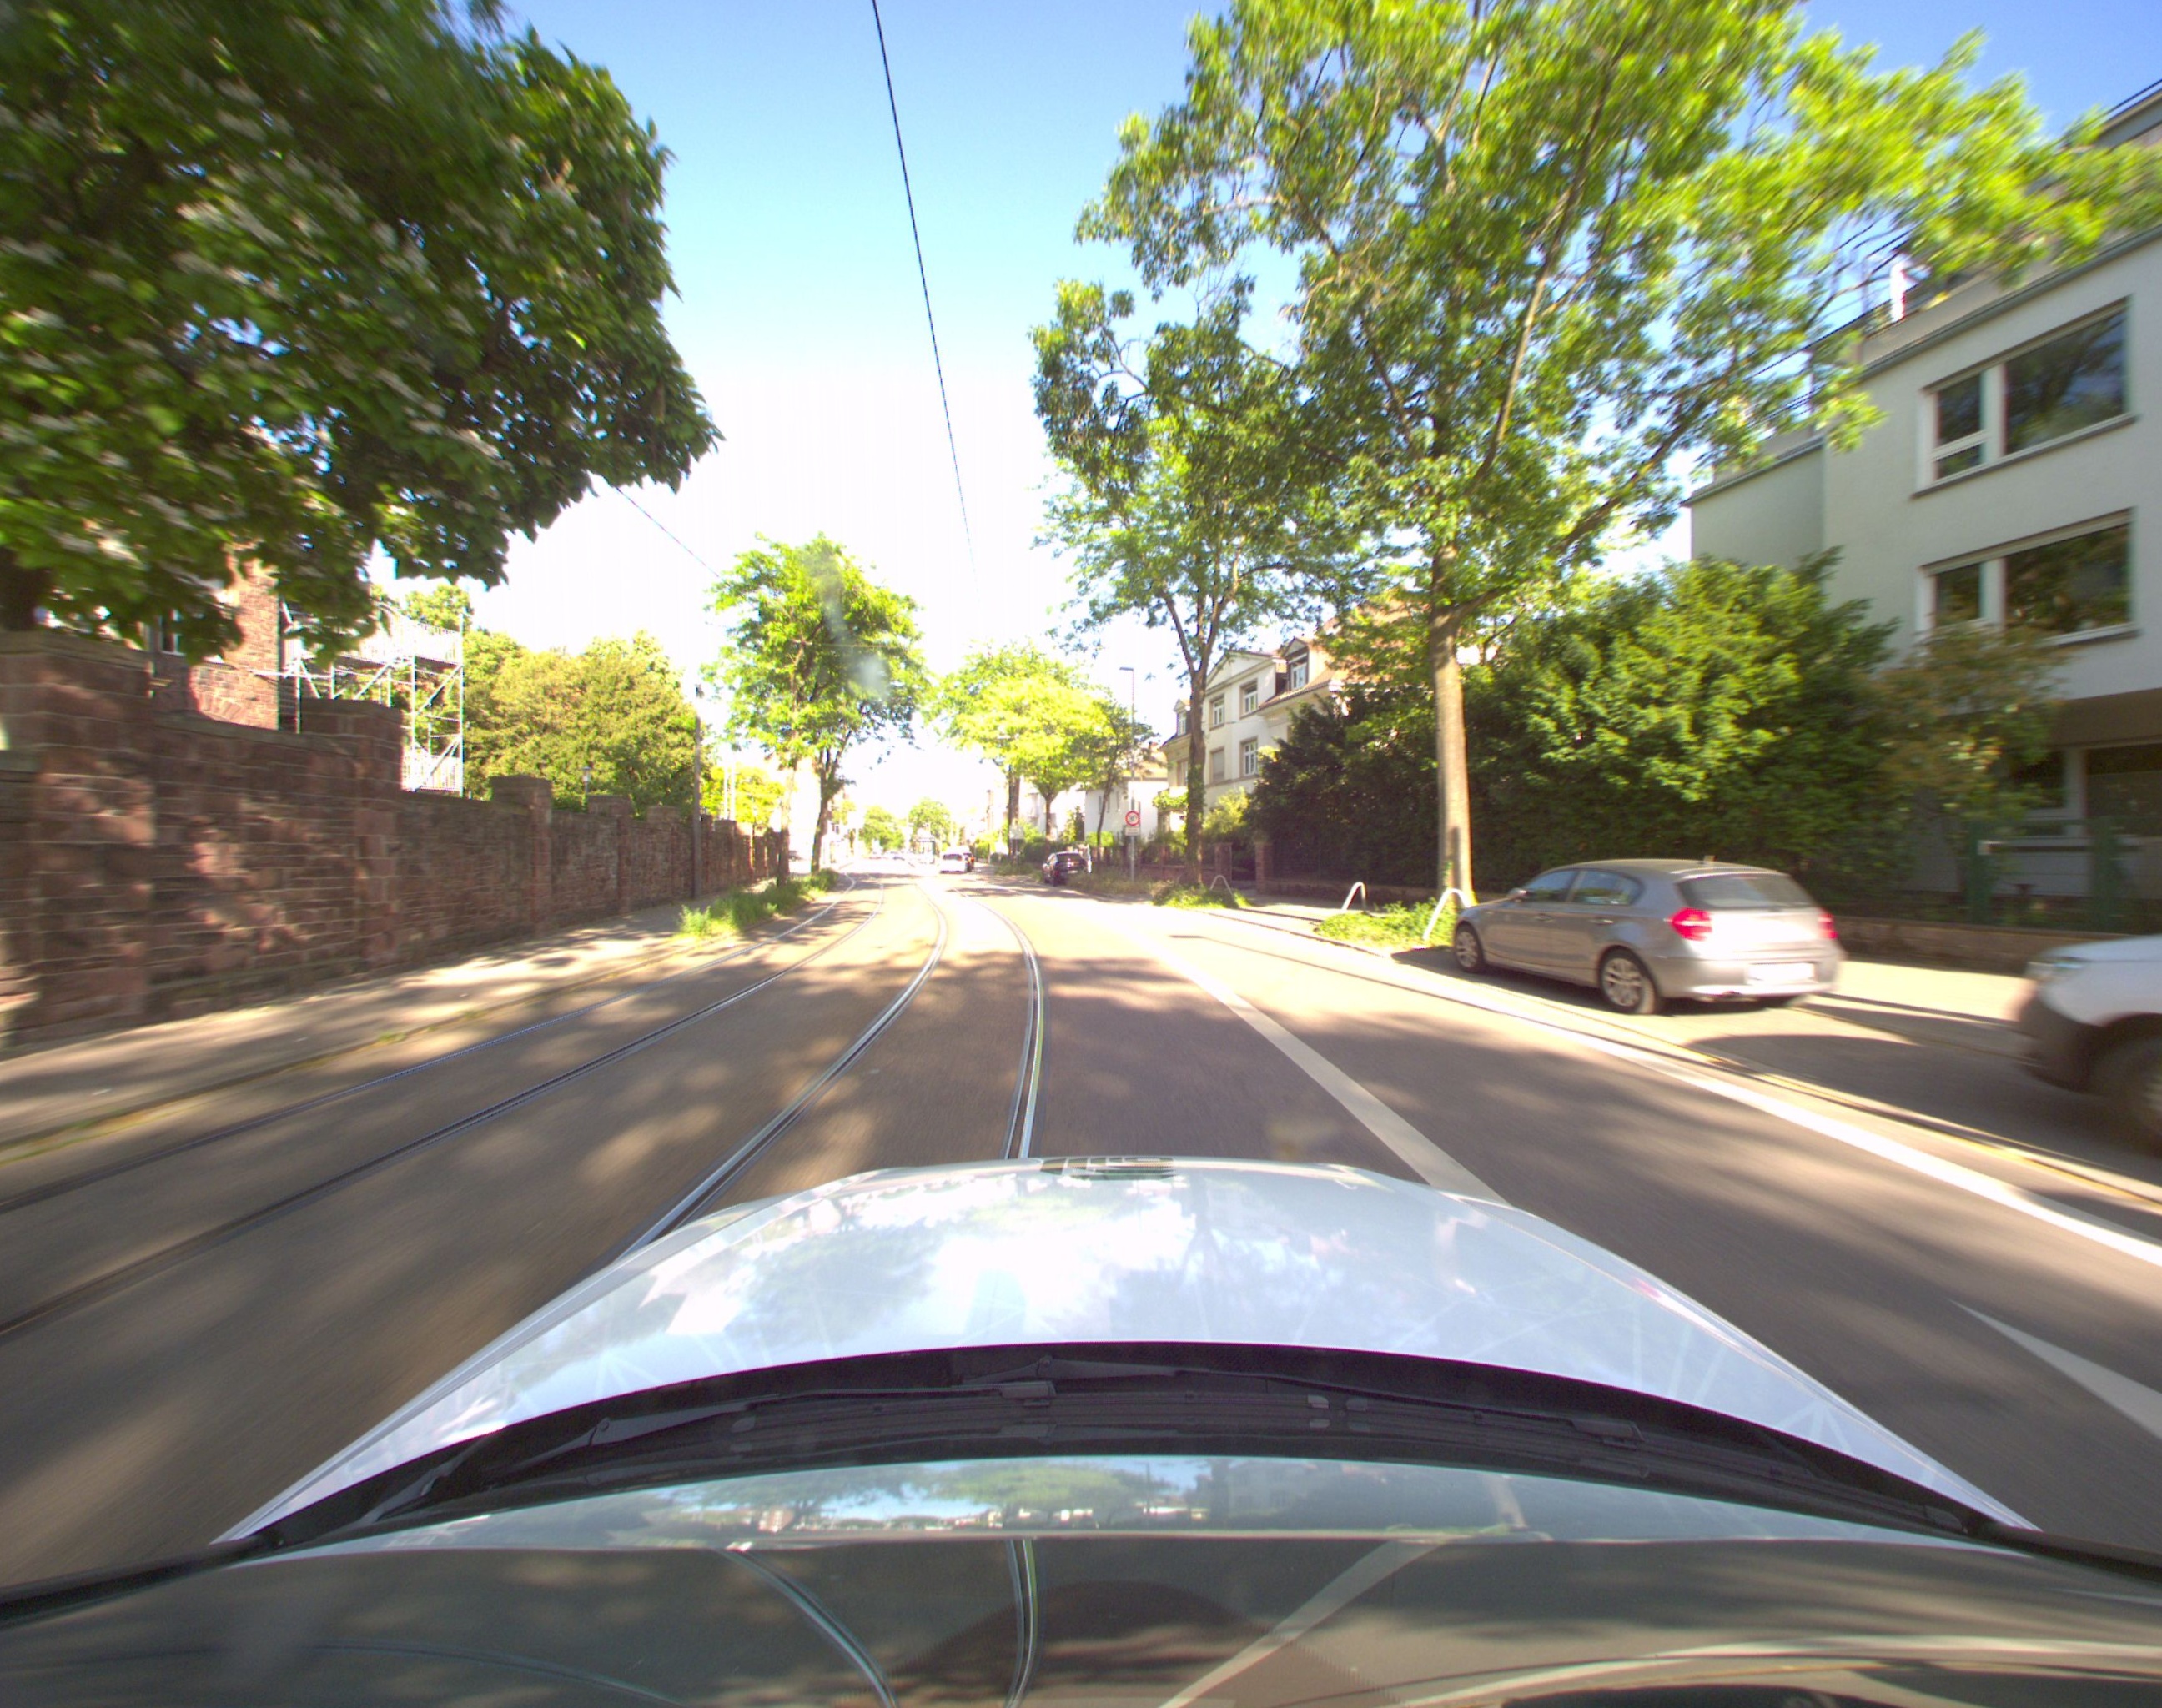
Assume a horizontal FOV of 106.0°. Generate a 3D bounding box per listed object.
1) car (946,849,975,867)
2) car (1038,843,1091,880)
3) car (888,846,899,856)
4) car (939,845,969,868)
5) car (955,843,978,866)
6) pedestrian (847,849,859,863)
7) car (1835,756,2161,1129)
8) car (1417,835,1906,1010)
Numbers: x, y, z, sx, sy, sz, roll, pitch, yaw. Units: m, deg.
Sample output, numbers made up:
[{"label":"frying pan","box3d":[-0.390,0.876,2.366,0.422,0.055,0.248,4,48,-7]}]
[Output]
[{"label":"car","box3d":[-10.139,0.345,68.726,1.989,1.442,3.995,-1,0,-3]},{"label":"car","box3d":[-0.913,0.370,42.175,1.806,1.694,4.710,-4,1,-12]},{"label":"car","box3d":[-36.351,-0.656,157.882,1.995,1.913,3.984,0,0,-12]},{"label":"car","box3d":[-9.481,0.232,60.939,1.889,1.611,4.221,0,-1,-5]},{"label":"car","box3d":[-10.531,0.035,74.886,1.705,2.013,3.902,-1,0,-3]},{"label":"pedestrian","box3d":[-31.300,0.272,111.972,1.145,2.013,1.126,-1,0,24]},{"label":"car","box3d":[6.175,0.408,3.049,2.021,1.746,4.739,-1,1,-8]},{"label":"car","box3d":[5.848,0.569,9.040,1.993,1.423,4.320,-1,0,-8]}]
